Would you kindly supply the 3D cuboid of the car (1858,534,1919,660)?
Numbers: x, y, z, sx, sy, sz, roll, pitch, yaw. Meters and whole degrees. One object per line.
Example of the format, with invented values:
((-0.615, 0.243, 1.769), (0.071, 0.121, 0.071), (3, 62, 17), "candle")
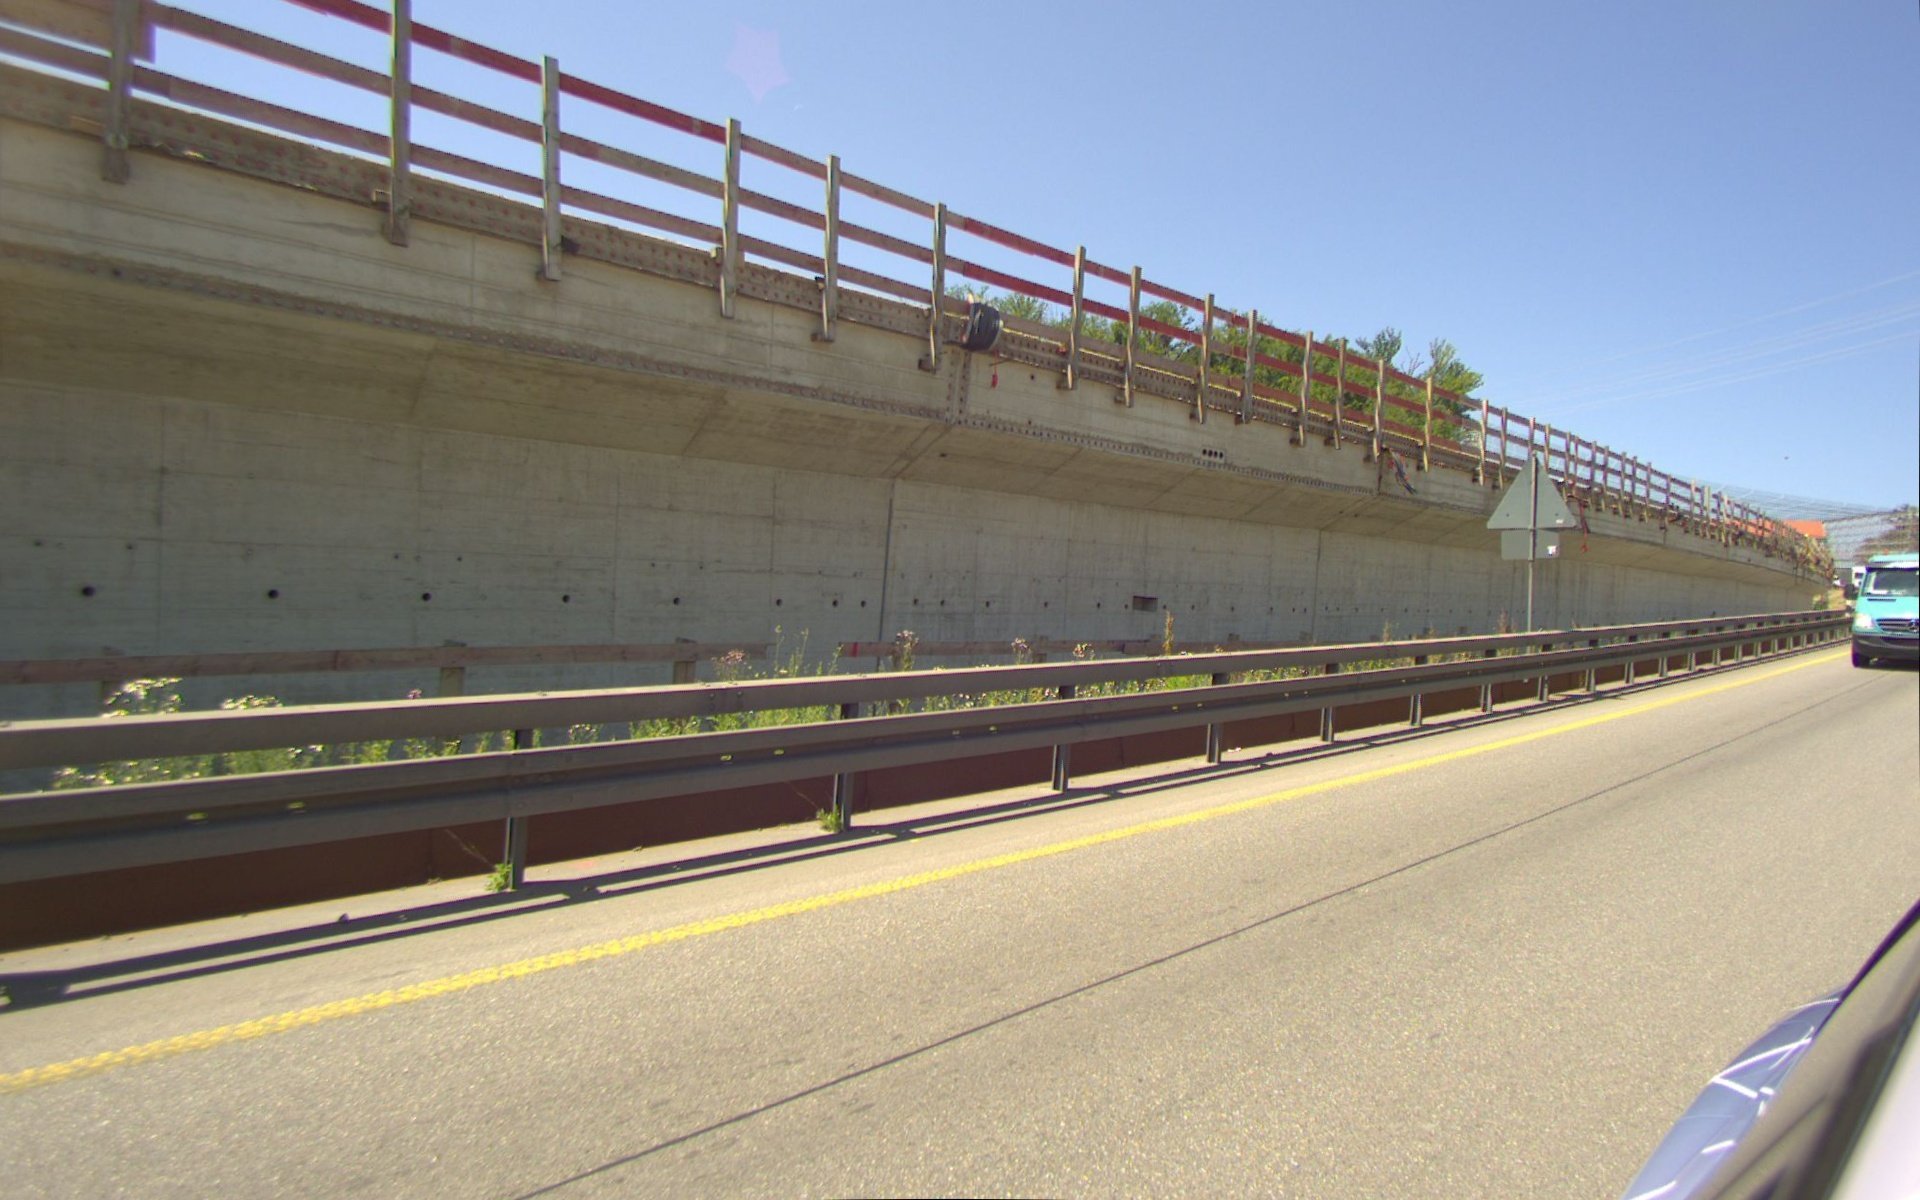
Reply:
((20.550, -0.116, 21.177), (6.790, 2.354, 2.213), (-1, 2, -45), "car")
